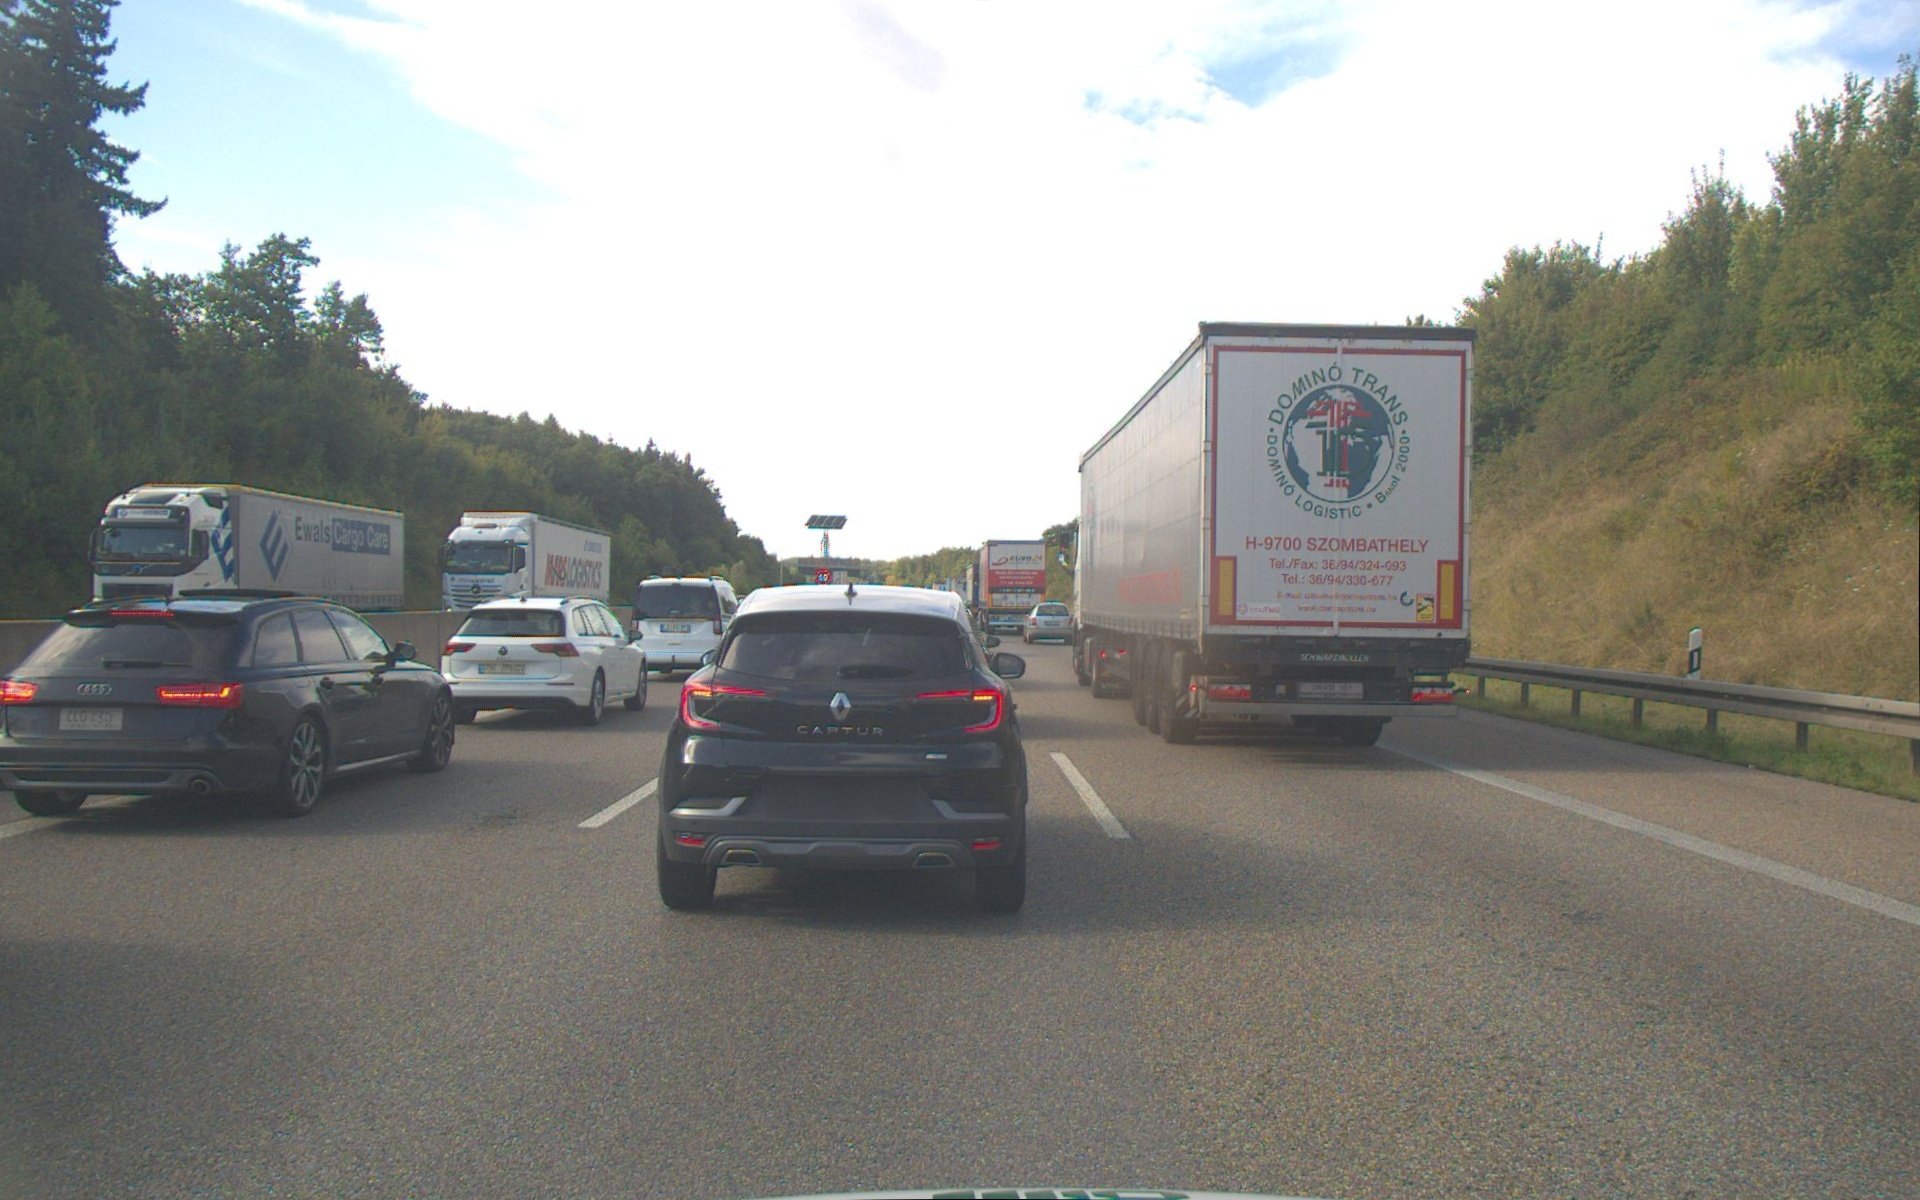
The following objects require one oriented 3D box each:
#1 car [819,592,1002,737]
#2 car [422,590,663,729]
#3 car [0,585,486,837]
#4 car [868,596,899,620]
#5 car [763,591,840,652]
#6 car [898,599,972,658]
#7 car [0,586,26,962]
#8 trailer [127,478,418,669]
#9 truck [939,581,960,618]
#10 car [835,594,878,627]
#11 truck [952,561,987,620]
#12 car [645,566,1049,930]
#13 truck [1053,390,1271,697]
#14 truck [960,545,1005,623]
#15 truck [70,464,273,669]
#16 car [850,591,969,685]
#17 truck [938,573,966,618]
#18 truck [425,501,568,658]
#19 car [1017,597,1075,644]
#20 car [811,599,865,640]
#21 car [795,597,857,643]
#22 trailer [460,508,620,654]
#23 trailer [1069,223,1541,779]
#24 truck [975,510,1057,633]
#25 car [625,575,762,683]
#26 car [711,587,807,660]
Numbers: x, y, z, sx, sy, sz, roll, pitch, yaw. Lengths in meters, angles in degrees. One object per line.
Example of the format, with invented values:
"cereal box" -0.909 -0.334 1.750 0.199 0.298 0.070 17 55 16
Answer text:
"car" -0.529 0.713 19.885 1.953 1.540 4.000 1 -1 0
"car" -4.915 0.661 20.082 1.767 1.486 4.308 1 0 1
"car" -5.106 0.659 12.263 1.805 1.481 4.747 1 0 0
"car" -5.381 0.577 116.263 1.953 1.641 4.000 1 0 0
"car" -4.814 0.653 50.792 1.953 1.752 4.000 1 -1 0
"car" -0.680 0.787 46.318 1.953 1.540 4.000 1 -1 0
"car" -4.649 0.698 4.711 1.711 1.491 4.040 0 0 -1
"trailer" -20.314 -0.632 50.432 2.867 4.914 14.650 1 0 -1
"truck" -1.607 0.013 257.736 3.101 5.601 12.736 1 -1 0
"car" -5.300 0.514 84.930 1.953 1.641 4.000 1 0 0
"truck" 1.042 -0.875 165.909 3.101 5.601 12.739 1 -1 2
"car" -0.435 0.654 9.271 1.767 1.579 4.001 0 0 2
"truck" 3.315 -0.883 28.727 2.936 4.749 5.938 1 0 -1
"truck" 1.661 -1.129 126.130 3.101 5.601 12.736 1 -1 0
"truck" -20.204 -0.792 42.688 2.872 4.944 4.764 1 -1 -1
"car" -0.844 0.647 29.476 1.953 1.540 4.000 1 -1 0
"truck" -0.906 -0.447 199.698 3.101 5.250 12.736 1 -1 0
"truck" -16.265 -0.657 58.596 3.025 5.190 7.139 1 -1 -1
"car" 3.027 0.721 58.927 1.768 1.559 3.924 1 -1 -1
"car" -5.087 0.800 69.471 1.953 1.641 4.000 1 -1 0
"car" -4.989 0.741 61.938 1.953 1.641 4.000 1 -1 0
"trailer" -16.413 -0.627 66.006 3.025 5.162 13.831 1 -1 -1
"trailer" 3.414 -0.859 20.879 2.941 4.742 13.287 1 0 -1
"truck" 2.422 -1.160 75.945 3.296 5.132 12.736 1 -1 0
"car" -4.847 0.515 30.650 1.873 1.821 4.416 1 -1 -1
"car" -4.908 0.571 40.881 1.817 1.669 3.925 1 -1 0
